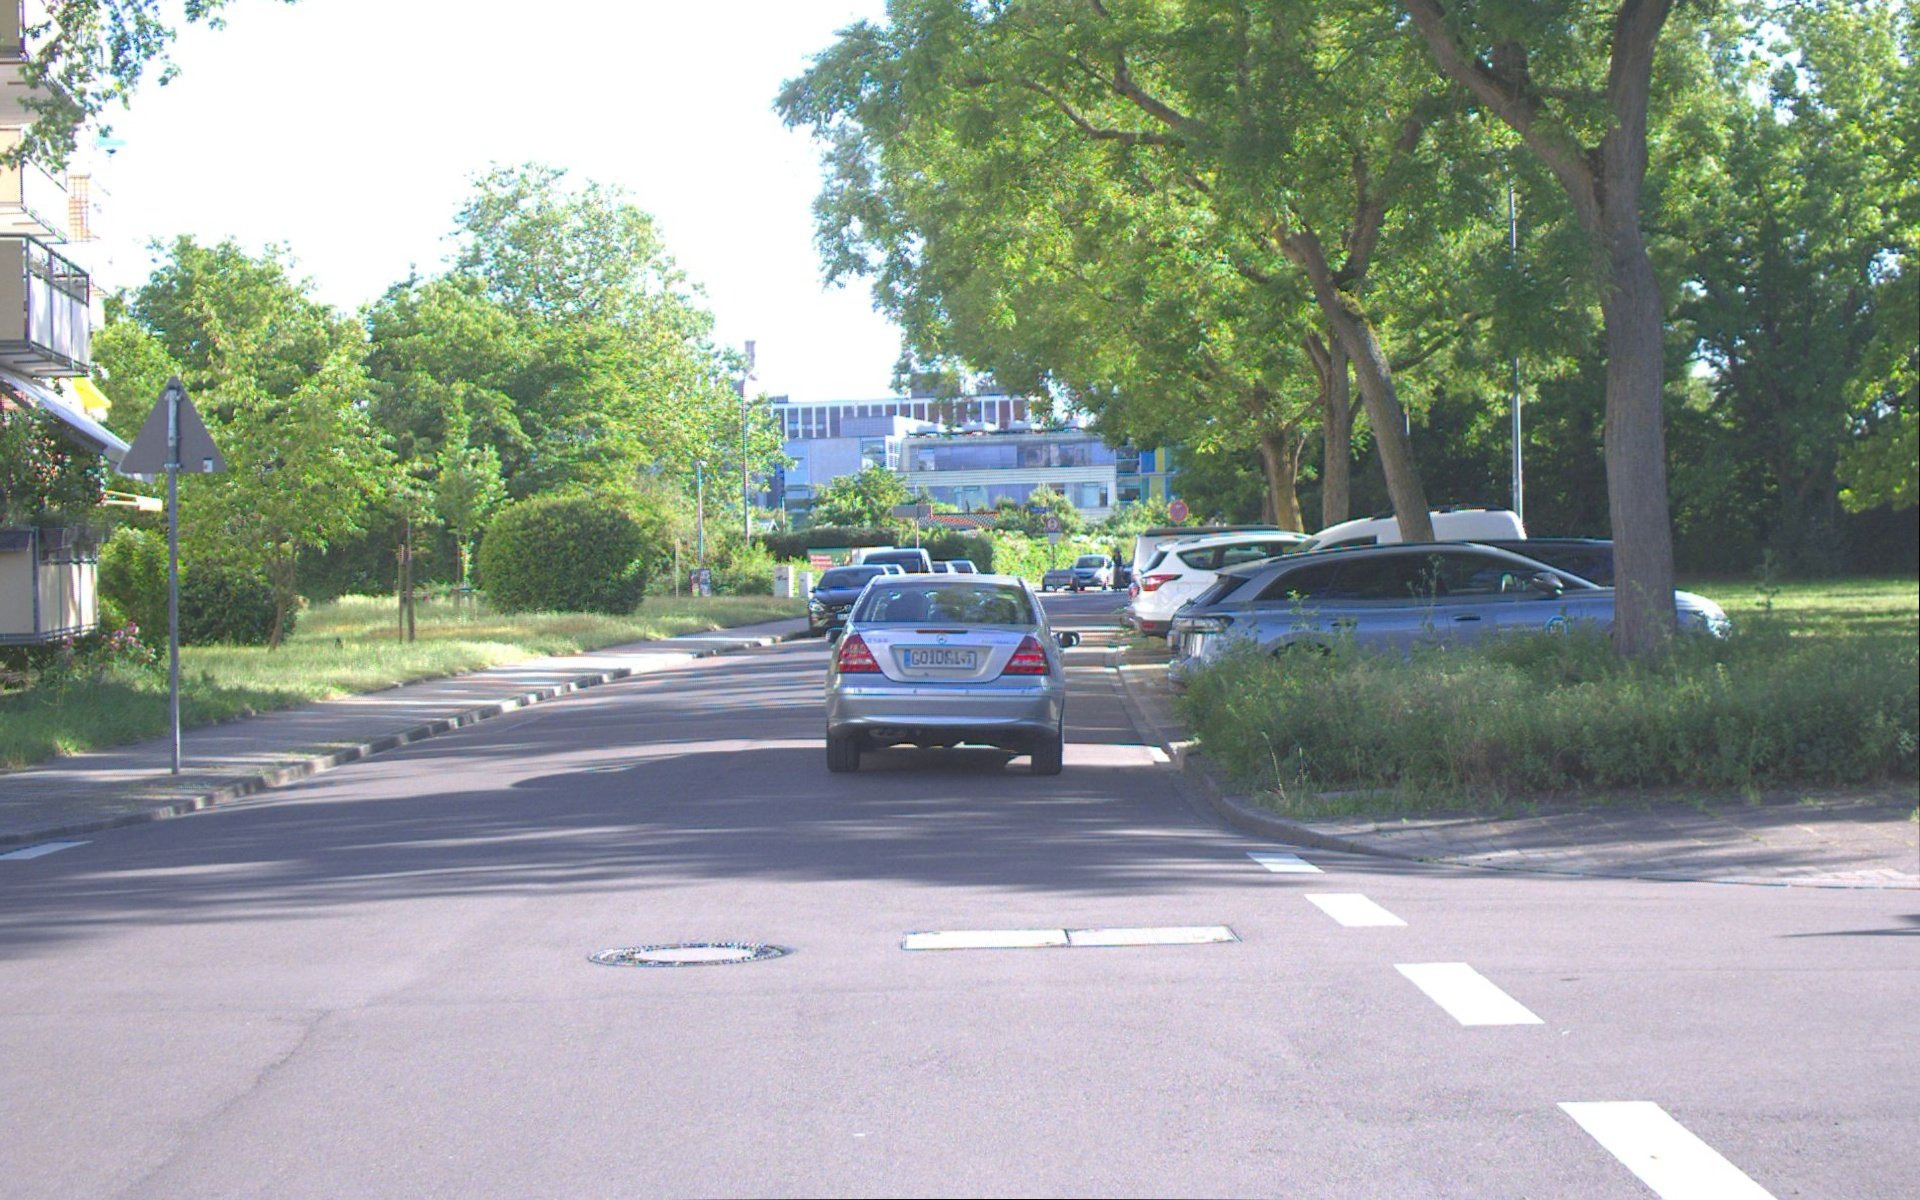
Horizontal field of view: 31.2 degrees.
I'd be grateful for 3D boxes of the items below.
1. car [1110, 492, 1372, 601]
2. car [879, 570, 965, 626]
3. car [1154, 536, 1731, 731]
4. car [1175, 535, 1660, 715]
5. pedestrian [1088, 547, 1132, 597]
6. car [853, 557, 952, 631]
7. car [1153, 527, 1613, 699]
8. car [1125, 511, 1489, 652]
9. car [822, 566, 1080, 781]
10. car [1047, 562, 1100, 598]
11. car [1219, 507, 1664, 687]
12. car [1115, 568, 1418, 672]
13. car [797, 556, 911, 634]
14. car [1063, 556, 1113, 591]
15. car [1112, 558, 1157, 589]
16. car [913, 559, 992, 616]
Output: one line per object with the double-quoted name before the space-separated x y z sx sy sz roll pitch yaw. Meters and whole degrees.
"car" 5.743 -1.099 70.511 5.218 2.052 2.000 -2 1 4
"car" -1.006 -0.068 91.734 1.750 1.325 3.449 -4 0 7
"car" 4.183 0.271 30.415 4.782 1.544 2.012 -2 1 0
"car" 4.312 0.222 32.892 4.427 1.566 1.737 -1 1 3
"pedestrian" 6.386 -1.206 146.240 1.575 2.082 1.723 -1 1 11
"car" -1.391 -0.170 85.171 1.750 1.683 4.263 -2 0 8
"car" 4.324 0.116 35.660 4.444 1.512 2.000 -3 1 0
"car" 4.781 -0.262 47.937 4.885 1.717 2.000 -2 1 3
"car" -0.126 0.499 25.069 1.733 1.429 3.438 -1 0 -2
"car" 4.902 -0.873 148.167 1.894 1.497 3.655 -1 1 8
"car" 5.716 -0.052 41.141 4.883 1.917 2.000 -2 1 -5
"car" 5.142 0.329 58.165 4.884 1.622 2.000 -1 0 -1
"car" -2.222 -0.136 73.129 1.913 1.485 3.836 -4 0 5
"car" 5.835 -1.210 156.403 1.894 1.497 3.655 -1 1 8
"car" 8.842 -1.331 173.913 1.894 1.497 3.655 -1 1 8
"car" -0.193 -0.386 98.262 1.750 1.515 4.192 -2 0 6
